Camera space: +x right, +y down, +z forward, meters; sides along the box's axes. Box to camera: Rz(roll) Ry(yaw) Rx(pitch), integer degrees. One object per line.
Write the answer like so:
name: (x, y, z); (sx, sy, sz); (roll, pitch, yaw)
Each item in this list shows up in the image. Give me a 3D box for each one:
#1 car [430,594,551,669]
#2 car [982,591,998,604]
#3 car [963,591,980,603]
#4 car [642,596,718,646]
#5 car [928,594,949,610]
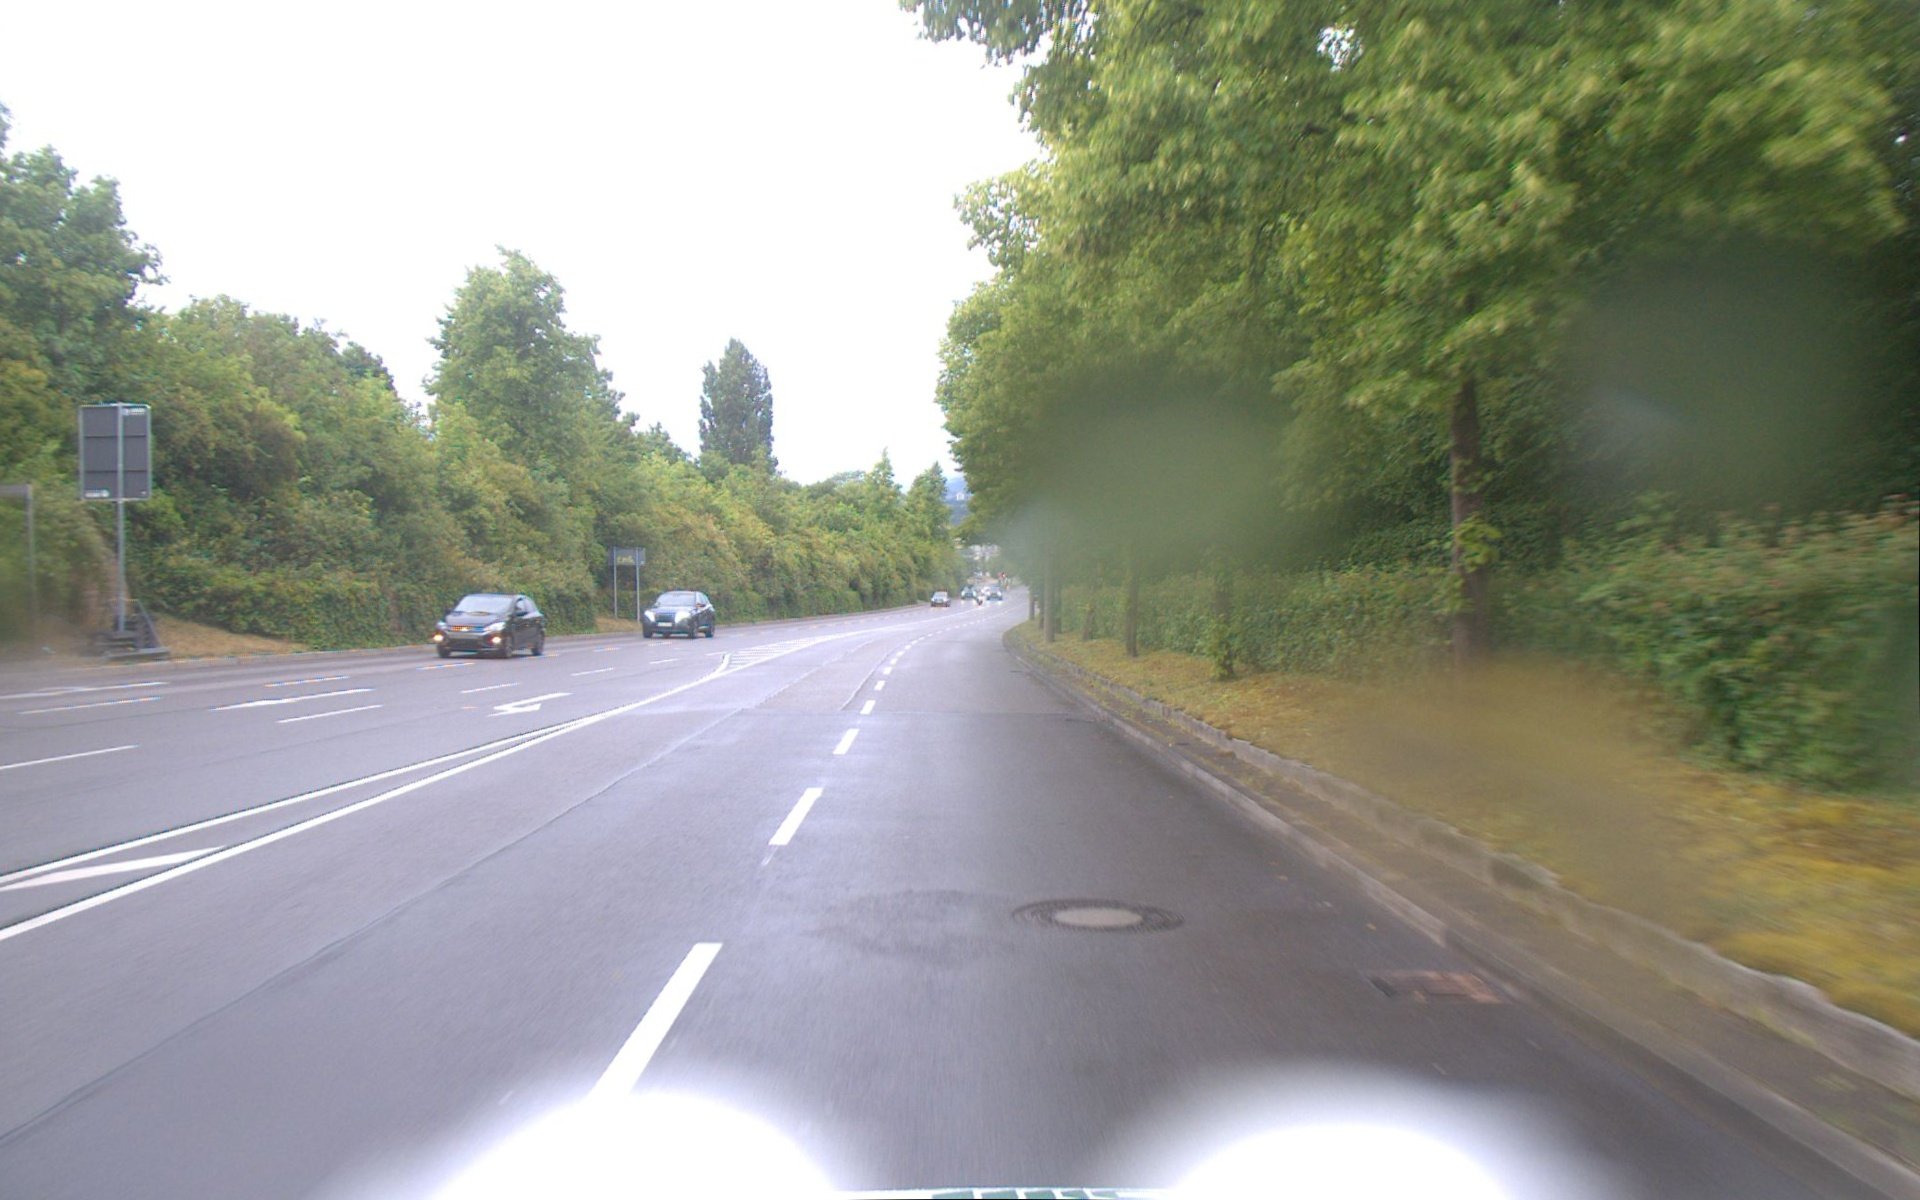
car: (-10.893, 0.687, 38.620); (1.690, 1.593, 3.892); (2, 0, -1)
car: (3.812, -0.301, 210.327); (1.825, 1.490, 3.895); (2, 0, 5)
car: (1.452, -0.362, 208.573); (1.825, 1.490, 3.895); (2, 0, 5)
car: (-9.871, 0.713, 58.560); (1.826, 1.617, 3.894); (2, 0, 2)
car: (-2.088, 0.203, 161.876); (1.826, 1.490, 3.894); (2, 0, 2)
